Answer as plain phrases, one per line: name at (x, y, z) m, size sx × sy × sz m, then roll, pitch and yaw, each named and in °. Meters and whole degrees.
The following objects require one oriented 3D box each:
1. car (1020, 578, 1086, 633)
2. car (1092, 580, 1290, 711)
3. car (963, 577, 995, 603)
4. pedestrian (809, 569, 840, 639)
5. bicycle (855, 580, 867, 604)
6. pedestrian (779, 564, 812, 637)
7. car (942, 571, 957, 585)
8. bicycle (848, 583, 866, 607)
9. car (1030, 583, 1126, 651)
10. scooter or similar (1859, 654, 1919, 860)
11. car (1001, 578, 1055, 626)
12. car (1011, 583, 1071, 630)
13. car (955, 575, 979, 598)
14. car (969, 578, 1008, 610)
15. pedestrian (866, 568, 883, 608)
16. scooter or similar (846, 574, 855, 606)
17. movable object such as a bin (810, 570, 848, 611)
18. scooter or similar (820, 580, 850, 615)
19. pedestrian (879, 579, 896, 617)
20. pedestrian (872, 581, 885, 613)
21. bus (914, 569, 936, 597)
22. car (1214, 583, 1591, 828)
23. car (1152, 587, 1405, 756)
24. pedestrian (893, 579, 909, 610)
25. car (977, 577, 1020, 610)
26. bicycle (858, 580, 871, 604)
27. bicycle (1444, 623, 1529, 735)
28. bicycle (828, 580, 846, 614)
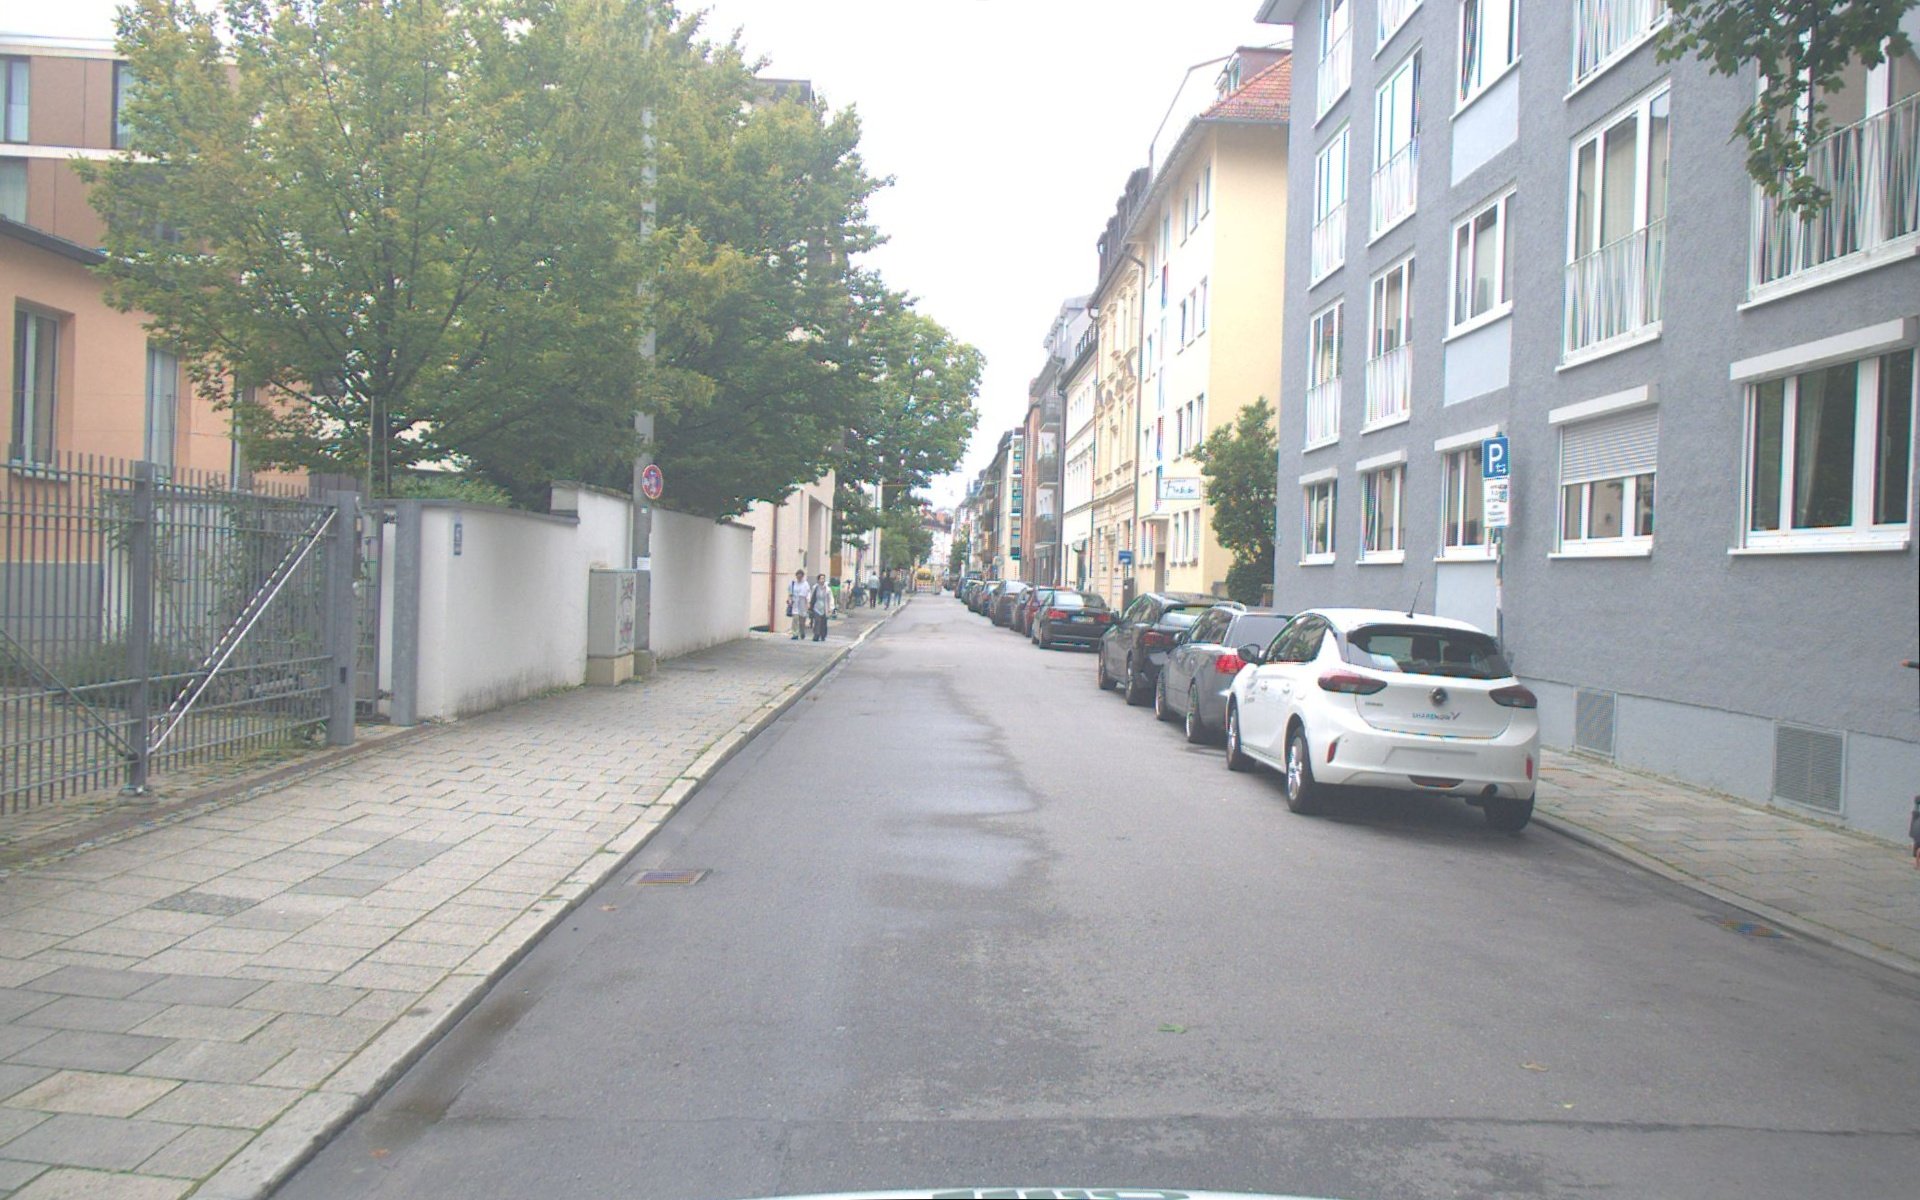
car at (2.756, 0.140, 49.679) m, size 1.642 × 1.518 × 3.852 m, roll 2°, pitch 1°, yaw -1°
car at (3.053, 0.541, 22.761) m, size 1.805 × 1.453 × 4.262 m, roll 5°, pitch 1°, yaw -3°
car at (1.257, -0.685, 110.945) m, size 1.848 × 1.582 × 4.389 m, roll 2°, pitch 1°, yaw -3°
pedestrian at (-3.186, 0.090, 38.854) m, size 0.610 × 1.606 × 0.714 m, roll 3°, pitch 0°, yaw -2°
bicycle at (-4.923, -0.391, 82.516) m, size 0.448 × 1.179 × 1.605 m, roll 4°, pitch 0°, yaw 0°
pedestrian at (-3.835, 0.010, 38.676) m, size 0.601 × 1.649 × 0.687 m, roll 4°, pitch 0°, yaw -1°
car at (-1.407, -3.028, 225.463) m, size 1.766 × 1.741 × 3.825 m, roll 5°, pitch 1°, yaw -3°
bicycle at (-4.632, -0.252, 74.380) m, size 0.690 × 1.001 × 1.821 m, roll 5°, pitch 0°, yaw -5°
car at (2.798, 0.368, 40.099) m, size 1.789 × 1.357 × 4.507 m, roll 5°, pitch 1°, yaw -2°
scooter or similar at (5.914, 0.941, 9.723) m, size 0.495 × 1.195 × 1.376 m, roll 1°, pitch 0°, yaw 0°
car at (2.472, 0.044, 60.941) m, size 1.667 × 1.635 × 4.684 m, roll 2°, pitch 1°, yaw -1°
car at (2.611, 0.198, 54.276) m, size 1.642 × 1.417 × 4.065 m, roll 2°, pitch 1°, yaw -1°
car at (0.613, -1.227, 147.573) m, size 1.766 × 1.851 × 3.998 m, roll 5°, pitch 1°, yaw -3°
car at (1.455, -0.348, 86.240) m, size 1.803 × 1.555 × 4.291 m, roll 2°, pitch 1°, yaw -2°
pedestrian at (-4.084, -0.571, 79.262) m, size 0.704 × 1.828 × 0.916 m, roll 3°, pitch 0°, yaw -1°
scooter or similar at (-4.823, -0.435, 72.642) m, size 0.311 × 1.400 × 1.239 m, roll 1°, pitch 0°, yaw -1°
movable object such as a bin at (-5.134, -0.381, 64.680) m, size 1.150 × 1.466 × 1.249 m, roll 6°, pitch 2°, yaw 5°
scooter or similar at (-4.334, -0.090, 57.253) m, size 0.540 × 1.163 × 1.359 m, roll 4°, pitch 0°, yaw 15°
pedestrian at (-3.487, -0.101, 79.283) m, size 0.704 × 1.796 × 0.838 m, roll 3°, pitch 0°, yaw -1°
pedestrian at (-4.565, -0.190, 92.653) m, size 0.600 × 1.743 × 0.823 m, roll 3°, pitch 0°, yaw -2°
bus at (-4.090, -1.951, 193.416) m, size 2.540 × 3.156 × 6.305 m, roll 1°, pitch 0°, yaw -1°
car at (3.288, 0.685, 13.214) m, size 1.733 × 1.470 × 4.344 m, roll 5°, pitch 1°, yaw 0°
car at (3.280, 0.660, 17.904) m, size 1.754 × 1.425 × 4.485 m, roll 5°, pitch 1°, yaw 0°
pedestrian at (-3.301, -0.326, 92.492) m, size 0.738 × 1.688 × 0.906 m, roll 3°, pitch 0°, yaw -1°
car at (1.858, -0.345, 81.363) m, size 1.838 × 1.598 × 4.314 m, roll 0°, pitch 1°, yaw -3°
bicycle at (-4.878, -0.398, 84.233) m, size 0.551 × 1.179 × 1.718 m, roll 2°, pitch 0°, yaw -7°
bicycle at (5.833, 0.850, 18.403) m, size 0.369 × 1.129 × 1.686 m, roll 1°, pitch 1°, yaw -1°
bicycle at (-4.419, -0.116, 59.317) m, size 0.533 × 1.181 × 1.881 m, roll 3°, pitch 0°, yaw -3°
